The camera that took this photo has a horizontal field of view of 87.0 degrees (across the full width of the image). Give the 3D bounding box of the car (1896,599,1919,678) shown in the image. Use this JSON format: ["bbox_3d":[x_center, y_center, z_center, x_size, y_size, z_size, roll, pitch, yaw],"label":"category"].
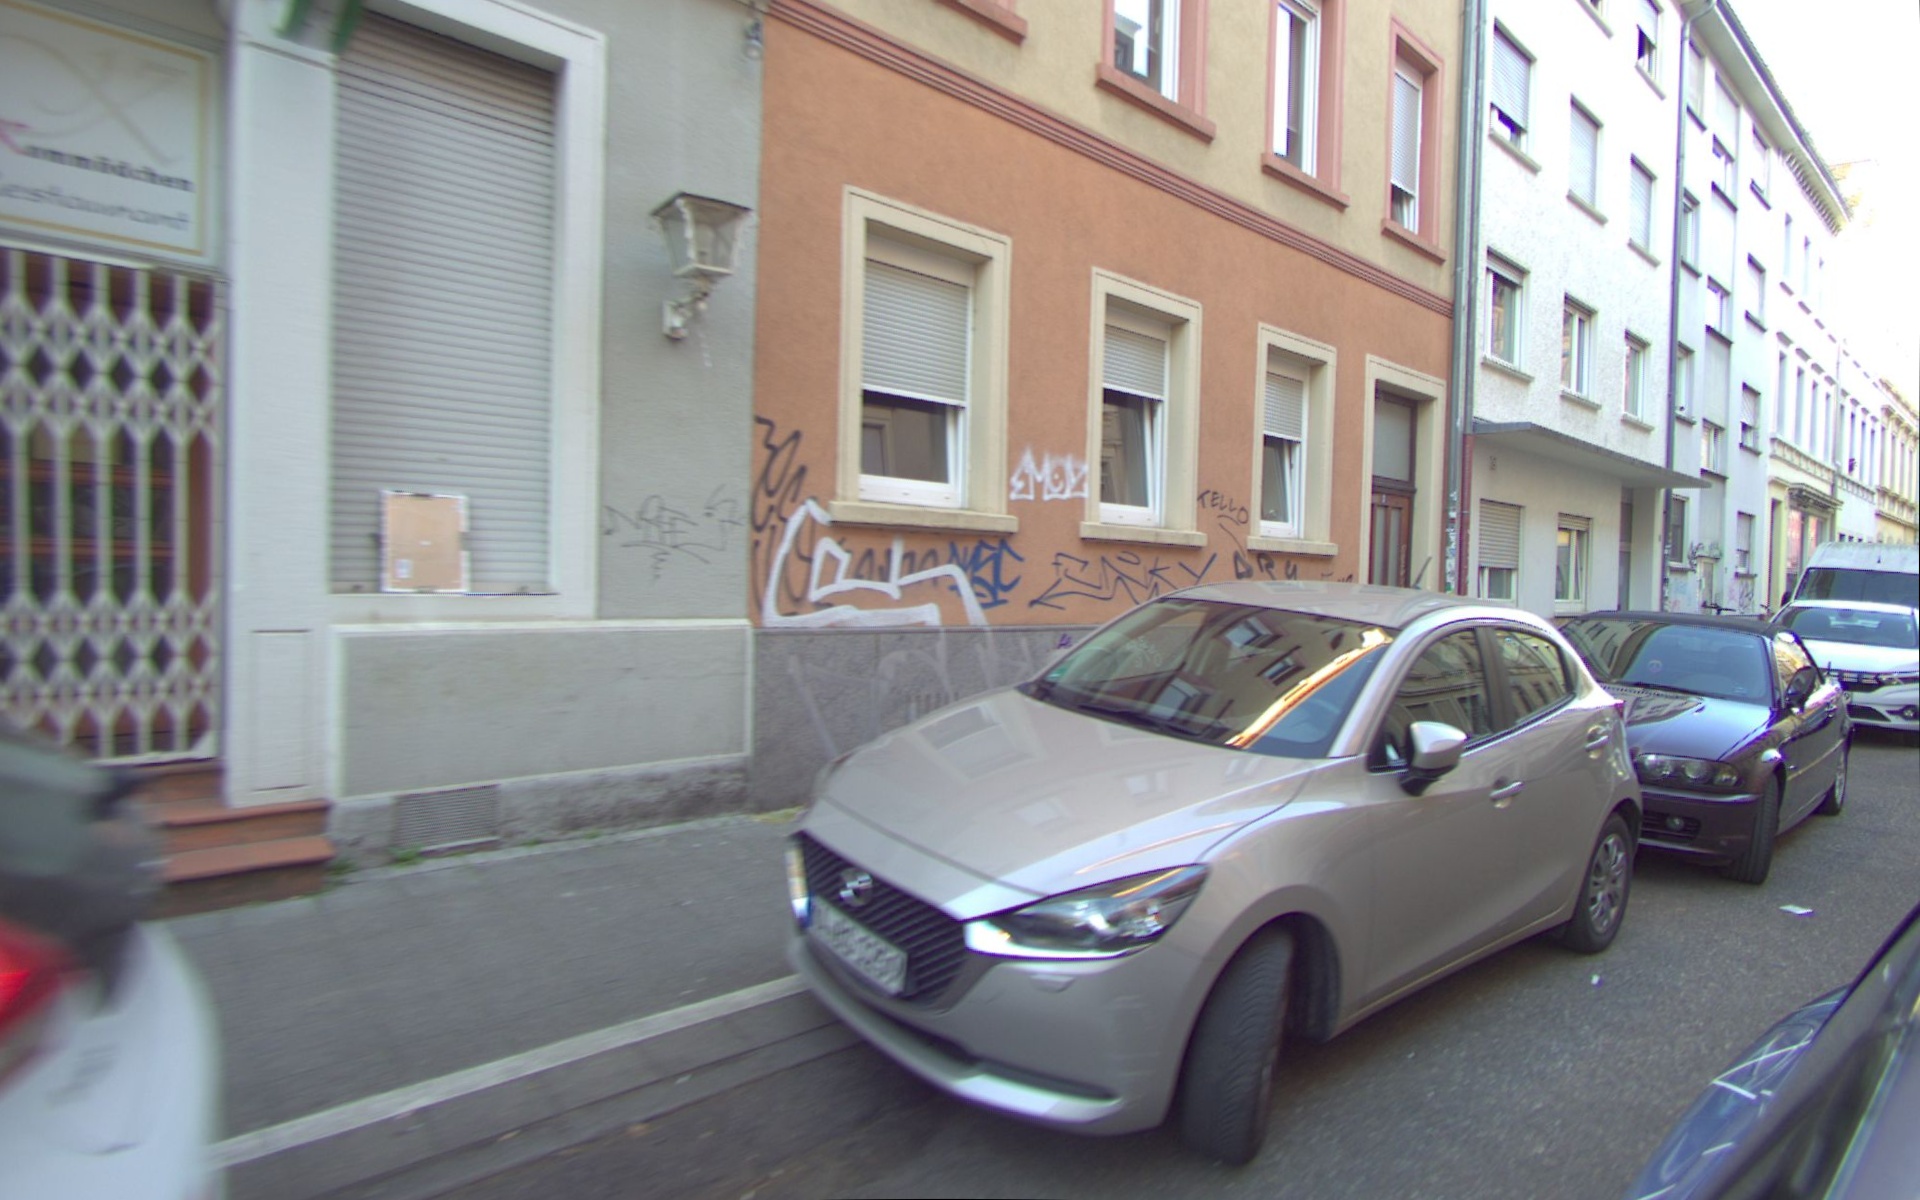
[{"bbox_3d":[19.543,0.721,19.608,3.792,1.461,1.682,0,0,-41],"label":"car"}]

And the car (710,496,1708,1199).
[{"bbox_3d":[1.294,0.598,3.983,4.114,1.617,1.683,0,0,-39],"label":"car"}]

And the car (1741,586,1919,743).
[{"bbox_3d":[10.630,0.647,11.975,3.796,1.579,1.680,0,0,-44],"label":"car"}]

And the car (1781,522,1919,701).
[{"bbox_3d":[15.584,0.162,16.648,5.914,2.545,2.049,0,0,-39],"label":"car"}]

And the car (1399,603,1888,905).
[{"bbox_3d":[4.870,0.732,6.925,4.417,1.412,1.770,0,0,-42],"label":"car"}]

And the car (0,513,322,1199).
[{"bbox_3d":[-2.762,0.682,0.324,4.118,1.529,1.681,0,0,-42],"label":"car"}]
